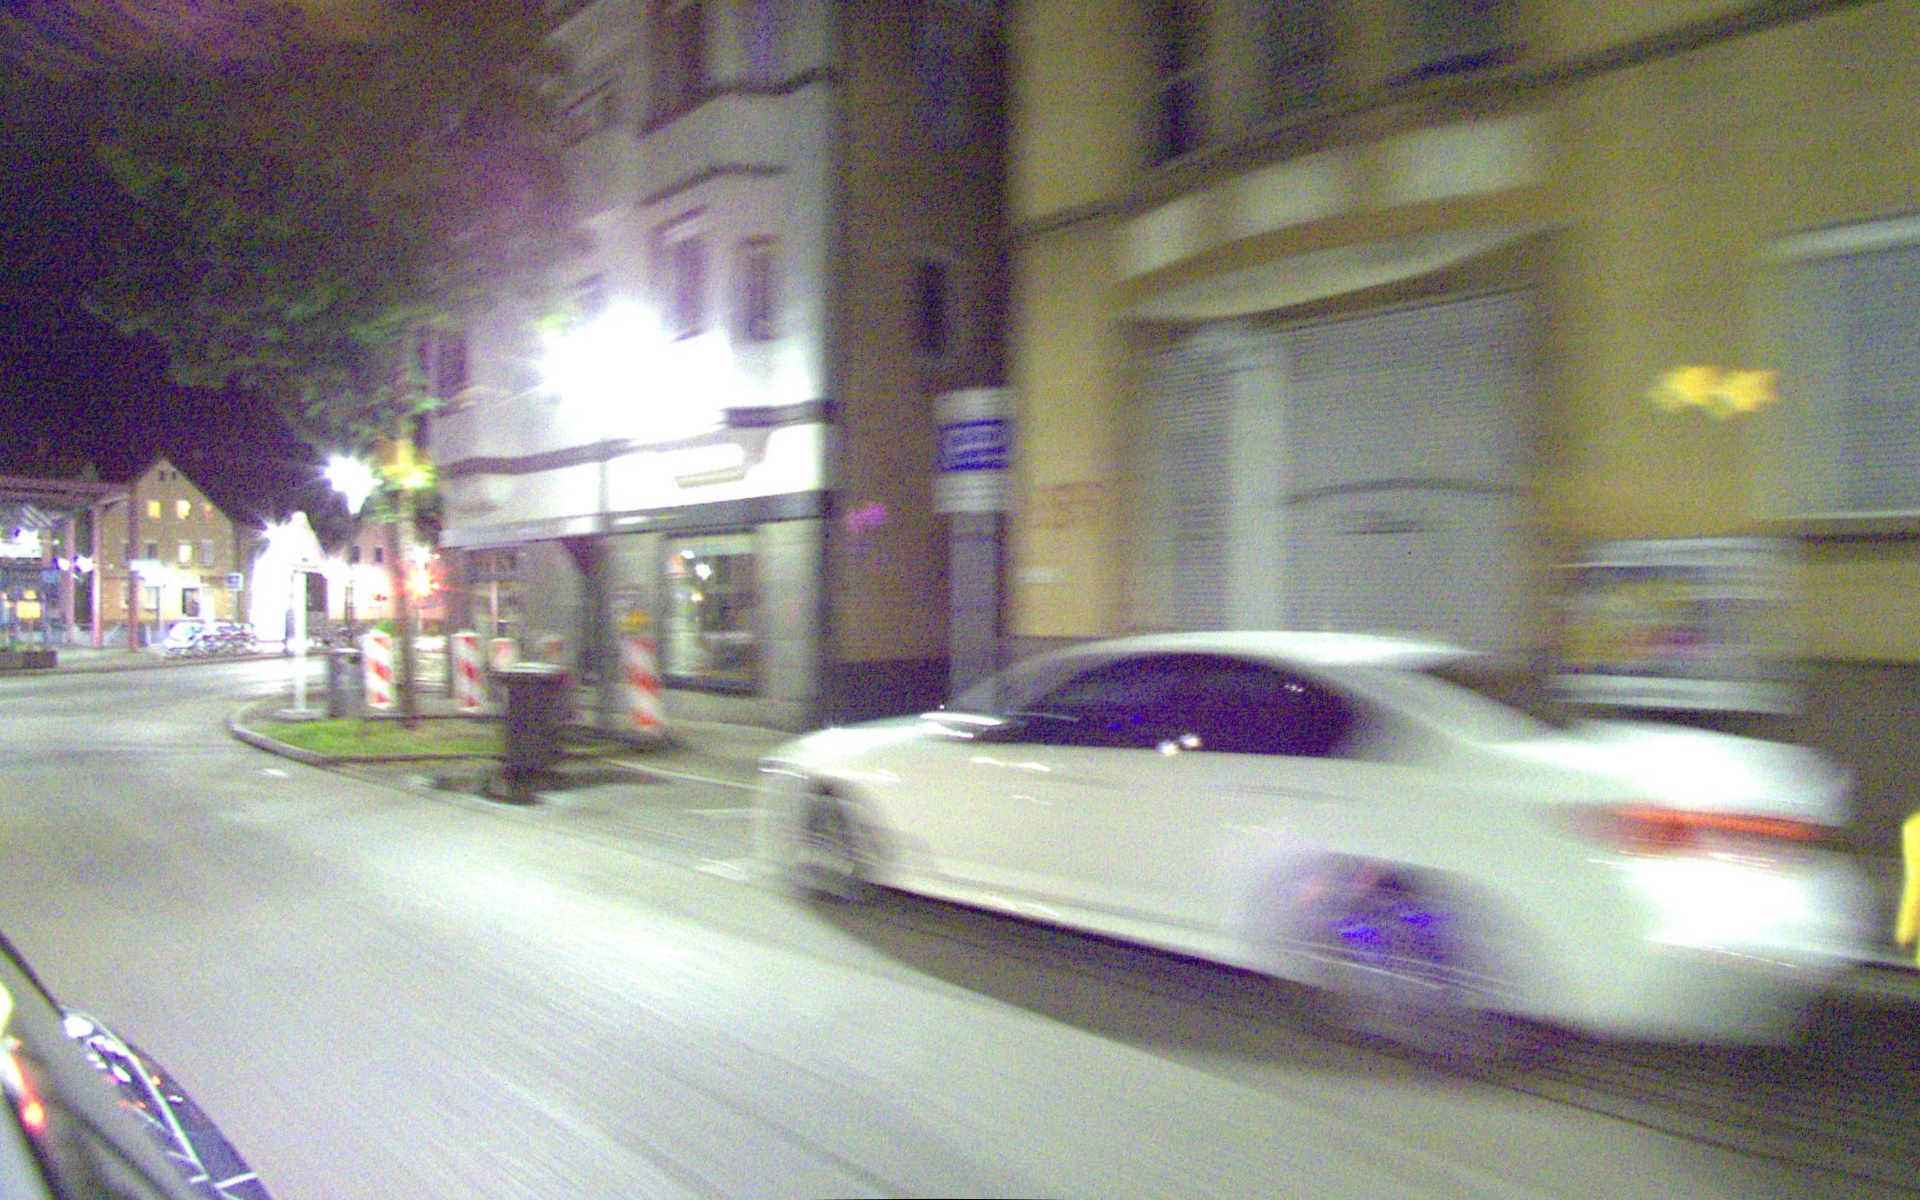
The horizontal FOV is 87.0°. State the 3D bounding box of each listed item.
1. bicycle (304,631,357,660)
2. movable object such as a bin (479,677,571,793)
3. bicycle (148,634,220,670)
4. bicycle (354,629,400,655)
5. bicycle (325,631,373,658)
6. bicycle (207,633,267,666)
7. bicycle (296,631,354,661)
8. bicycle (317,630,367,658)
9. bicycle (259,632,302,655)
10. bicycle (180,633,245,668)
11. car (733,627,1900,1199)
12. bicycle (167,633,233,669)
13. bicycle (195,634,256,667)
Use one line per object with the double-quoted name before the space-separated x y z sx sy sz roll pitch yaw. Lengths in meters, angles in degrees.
"bicycle" -26.019 1.873 41.866 1.765 1.143 0.630 0 -1 -8
"movable object such as a bin" -4.362 1.339 10.183 0.616 1.057 0.689 -1 1 0
"bicycle" -25.939 1.723 33.853 1.760 1.160 0.761 0 -1 -7
"bicycle" -26.479 1.890 45.973 1.634 1.149 0.829 0 -1 -6
"bicycle" -25.804 1.875 42.770 1.634 1.143 0.643 0 -1 -6
"bicycle" -26.228 1.796 36.733 1.752 1.160 0.582 0 -1 -1
"bicycle" -25.499 1.852 40.677 1.841 1.143 0.726 0 -1 -8
"bicycle" -26.747 1.889 43.804 1.747 1.149 0.688 0 -1 -6
"bicycle" -36.024 2.286 53.660 0.648 1.136 1.783 -1 -1 33
"bicycle" -26.115 1.757 35.368 1.749 1.160 0.583 0 -1 -7
"car" 1.129 0.904 4.867 4.879 1.461 1.820 -1 0 41
"bicycle" -26.024 1.741 34.670 1.749 1.160 0.615 0 -1 -7
"bicycle" -26.185 1.798 36.077 1.752 1.160 0.582 0 -1 -1
